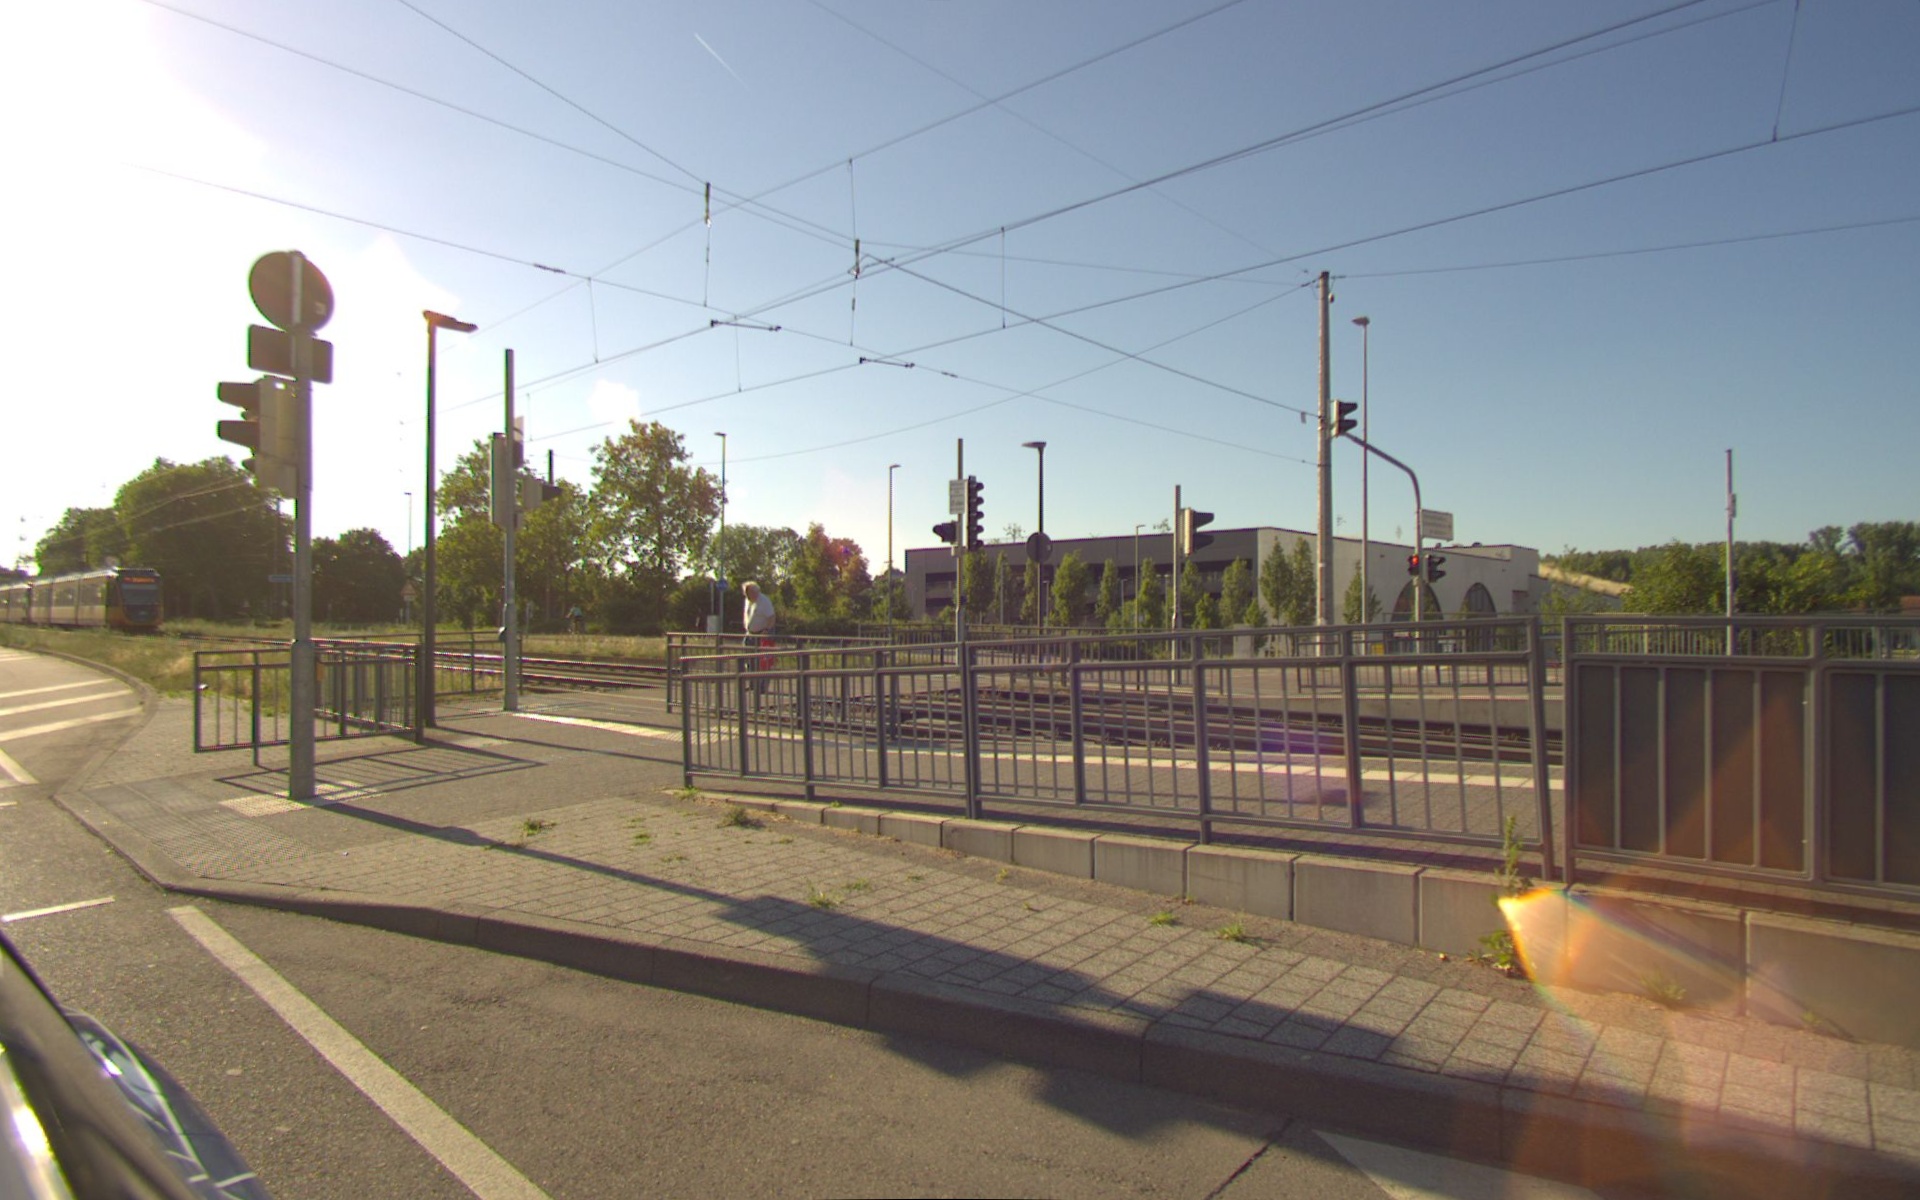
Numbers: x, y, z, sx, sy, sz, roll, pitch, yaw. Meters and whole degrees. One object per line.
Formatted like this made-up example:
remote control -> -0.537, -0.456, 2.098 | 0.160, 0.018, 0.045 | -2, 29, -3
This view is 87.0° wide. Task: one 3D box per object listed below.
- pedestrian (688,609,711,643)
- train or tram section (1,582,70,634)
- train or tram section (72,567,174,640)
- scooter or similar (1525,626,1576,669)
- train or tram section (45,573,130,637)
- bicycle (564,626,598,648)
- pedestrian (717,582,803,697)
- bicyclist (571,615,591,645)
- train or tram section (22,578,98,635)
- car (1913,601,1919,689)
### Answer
pedestrian -> -12.710, 1.253, 49.359 | 0.878, 1.621, 0.713 | -1, -1, 42
train or tram section -> -76.974, 0.695, 84.158 | 13.654, 3.977, 2.853 | -1, -1, 42
train or tram section -> -49.833, 0.269, 60.043 | 12.107, 3.977, 2.853 | -1, -1, 42
scooter or similar -> 15.519, 1.232, 26.602 | 1.131, 1.104, 0.400 | -1, -1, 30
train or tram section -> -58.596, 0.401, 67.836 | 11.335, 3.977, 2.853 | -1, -1, 42
bicycle -> -20.569, 2.016, 54.862 | 2.528, 1.136, 0.624 | -1, -1, 42
pedestrian -> -3.034, 0.579, 15.335 | 0.987, 1.657, 0.879 | -1, -1, 44
bicyclist -> -20.533, 1.612, 54.843 | 0.835, 1.629, 0.760 | -1, -1, 42
train or tram section -> -67.360, 0.540, 75.624 | 12.107, 3.977, 2.853 | -1, -1, 42
car -> 18.024, 0.734, 16.160 | 3.999, 1.457, 1.714 | -1, -1, 42
